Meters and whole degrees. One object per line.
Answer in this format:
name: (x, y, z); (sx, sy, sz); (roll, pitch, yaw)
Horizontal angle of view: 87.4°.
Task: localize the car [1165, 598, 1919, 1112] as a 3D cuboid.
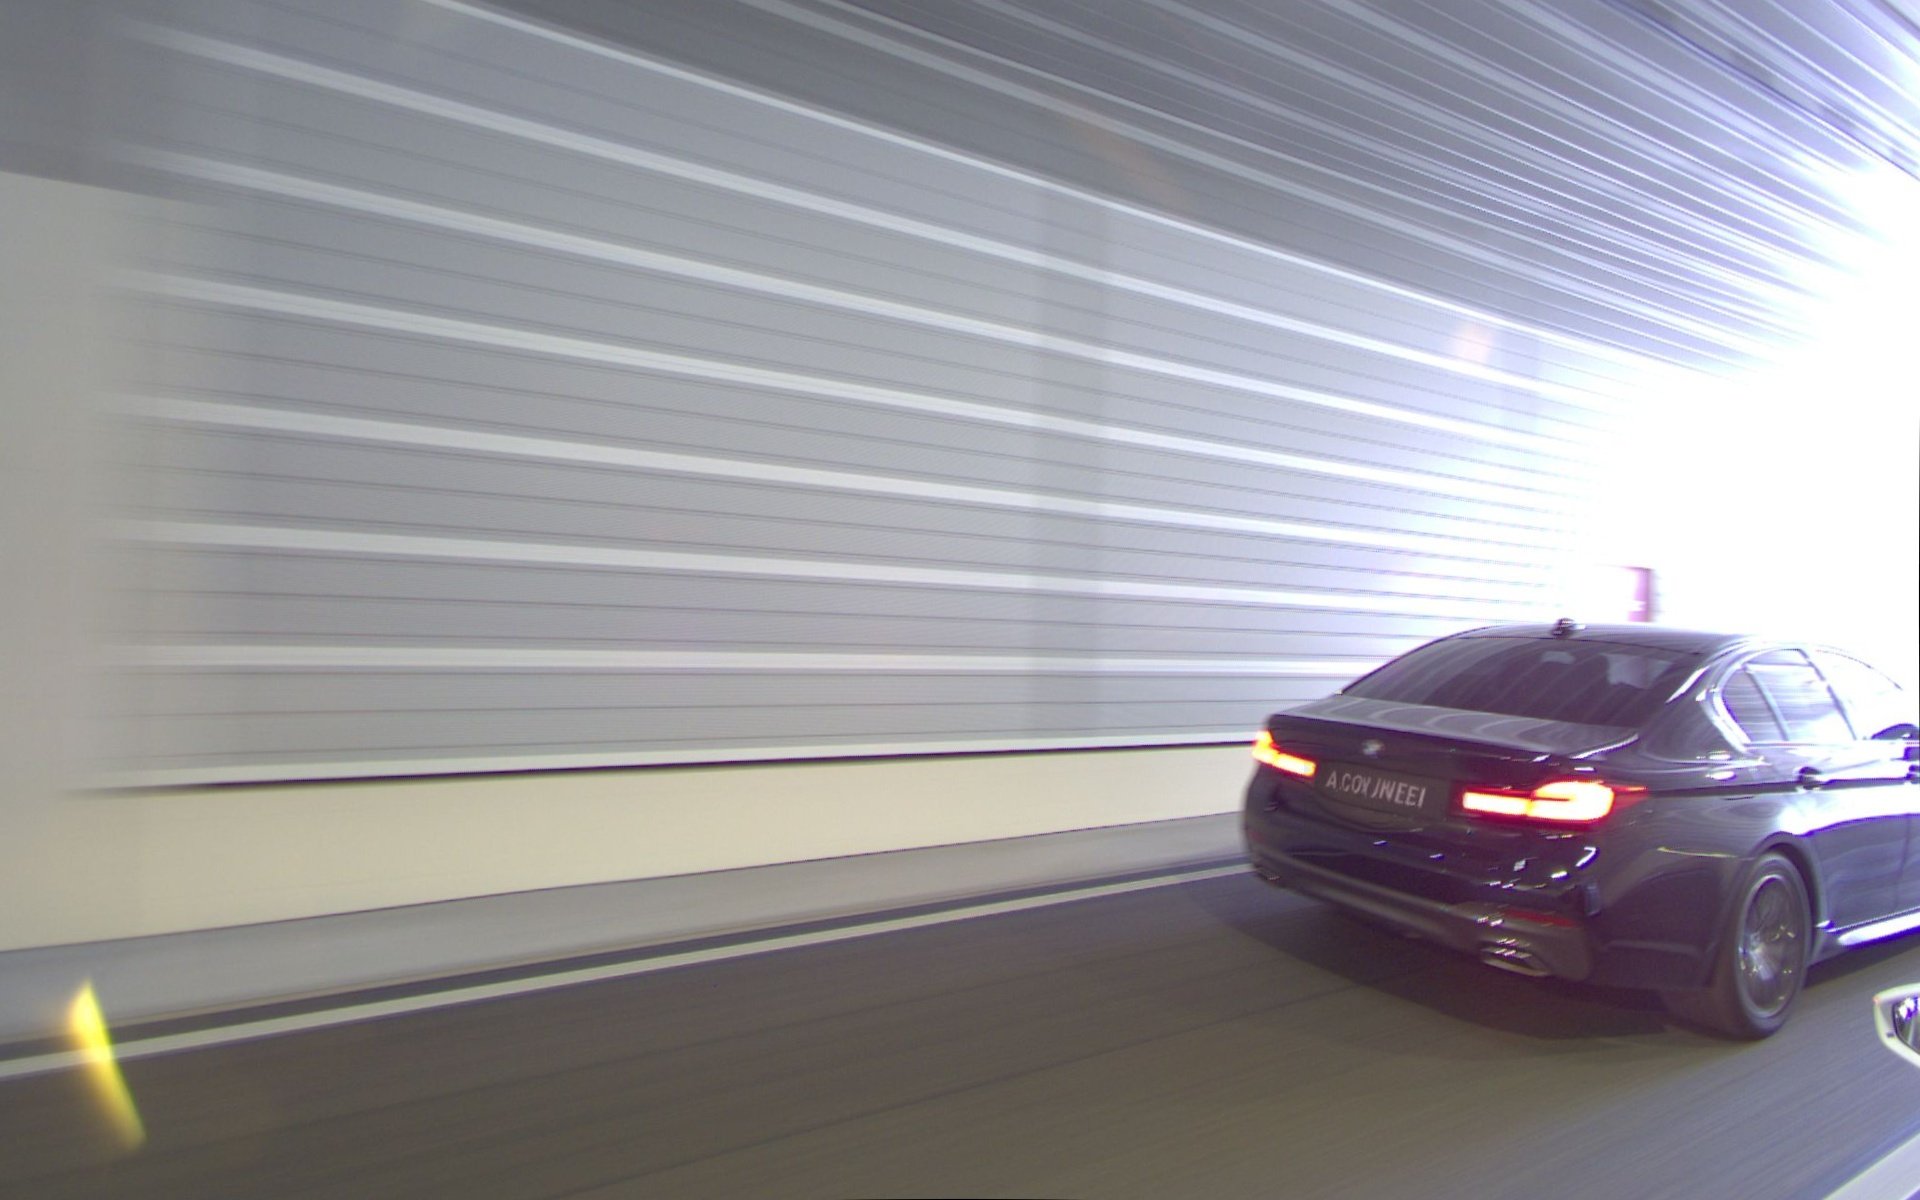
car: (3.507, 0.799, 4.882); (4.942, 1.458, 1.800); (2, 0, -29)
